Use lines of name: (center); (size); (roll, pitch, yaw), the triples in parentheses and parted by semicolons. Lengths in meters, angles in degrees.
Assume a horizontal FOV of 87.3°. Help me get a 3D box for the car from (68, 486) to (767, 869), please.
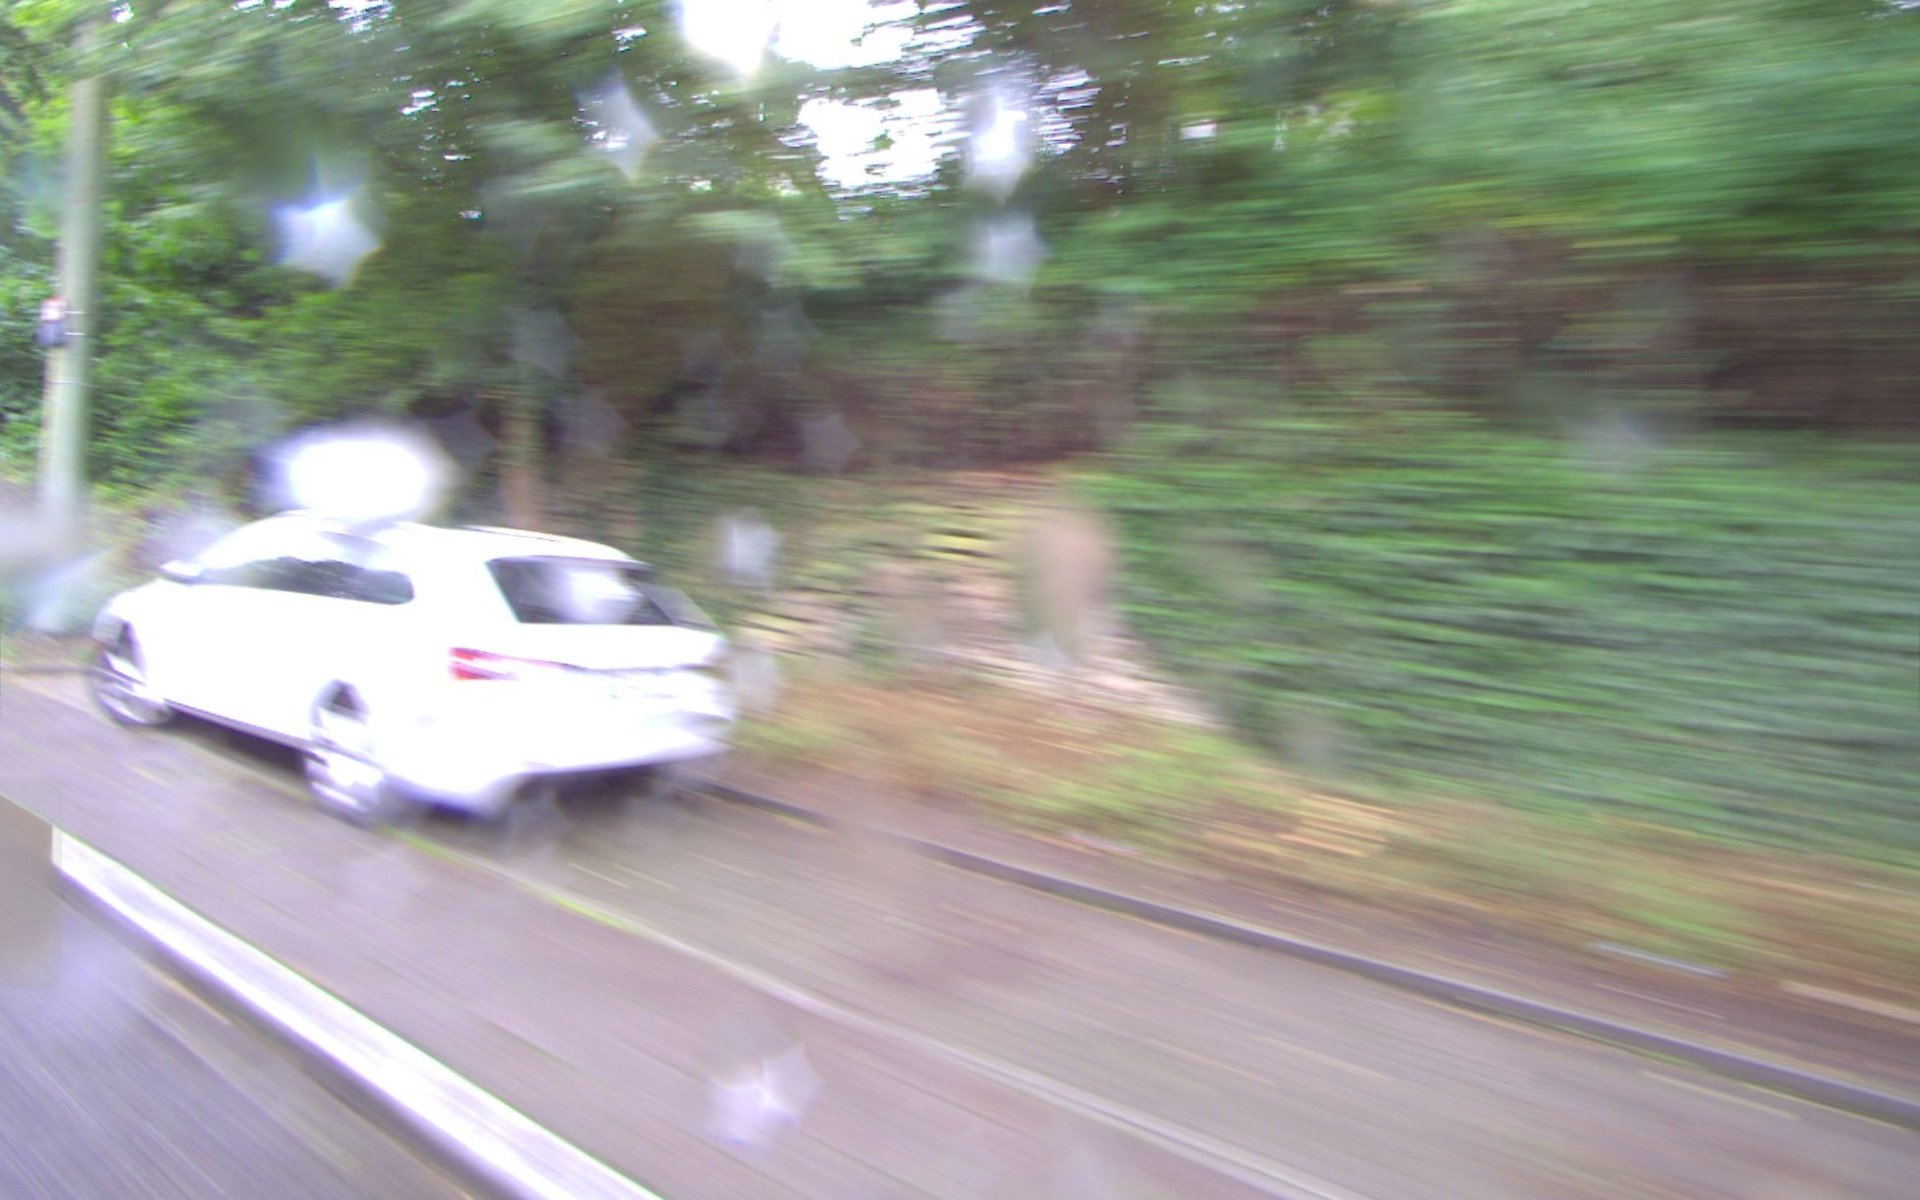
car: (-3.576, 0.223, 6.279); (4.662, 1.497, 1.739); (6, 2, 33)
